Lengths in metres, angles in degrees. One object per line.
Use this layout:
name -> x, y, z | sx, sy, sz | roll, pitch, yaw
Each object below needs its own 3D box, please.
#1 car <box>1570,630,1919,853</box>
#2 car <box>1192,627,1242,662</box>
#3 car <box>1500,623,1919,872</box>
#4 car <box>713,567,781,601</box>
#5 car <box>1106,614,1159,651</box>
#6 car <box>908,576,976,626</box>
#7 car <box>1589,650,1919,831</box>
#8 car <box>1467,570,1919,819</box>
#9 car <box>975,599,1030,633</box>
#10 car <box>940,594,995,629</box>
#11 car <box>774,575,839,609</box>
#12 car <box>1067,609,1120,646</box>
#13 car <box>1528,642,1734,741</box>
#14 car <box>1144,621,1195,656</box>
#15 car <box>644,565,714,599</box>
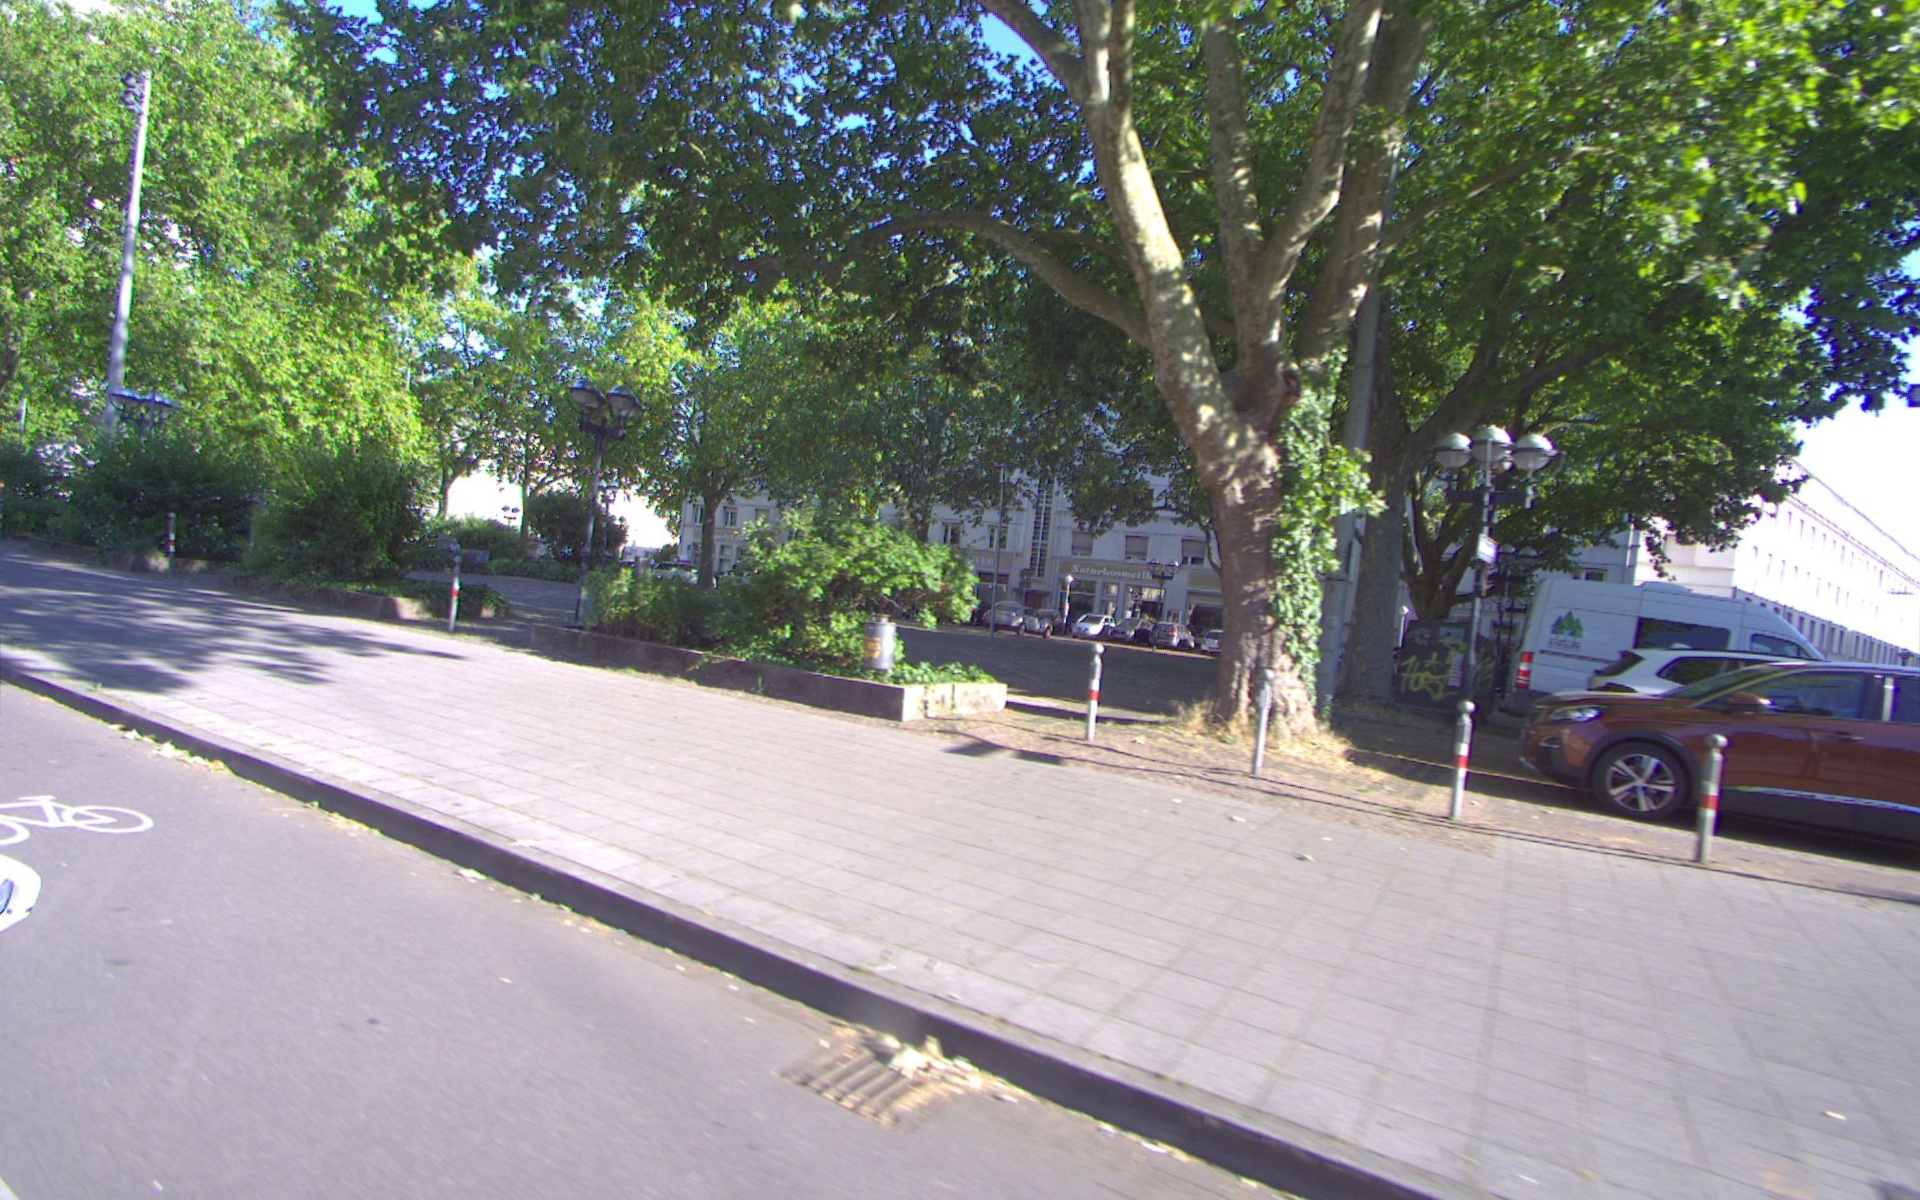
car -> 9.335, 1.536, 10.628 | 4.717, 1.757, 1.862 | 8, 1, 31
car -> 14.569, 2.551, 56.836 | 1.787, 1.553, 3.999 | 7, -2, 27
car -> 7.632, 1.344, 9.165 | 4.581, 1.622, 1.820 | 8, 1, 28
car -> -12.886, -0.936, 61.147 | 1.829, 1.638, 4.293 | 7, 0, 22
car -> 10.149, 1.936, 58.954 | 1.787, 1.678, 3.999 | 7, -2, 27
car -> -1.108, 0.114, 66.513 | 2.023, 2.656, 5.080 | 7, -2, 28
car -> 10.333, 1.711, 12.614 | 3.933, 1.590, 1.862 | 8, 1, 31
car -> 11.313, 1.294, 15.690 | 5.700, 2.869, 2.242 | 7, 1, 31
car -> 2.706, 1.028, 63.085 | 1.787, 1.678, 3.999 | 7, -2, 27
car -> 0.528, 0.764, 64.355 | 1.787, 1.678, 3.999 | 7, -2, 27
car -> -8.954, -0.458, 58.993 | 1.830, 1.638, 3.997 | 7, 0, 23
car -> 7.985, 1.669, 60.077 | 1.787, 1.678, 3.999 | 7, -2, 27
car -> 19.574, 2.607, 29.636 | 4.671, 2.039, 1.995 | 9, 2, 31
car -> 12.067, 2.232, 57.851 | 1.787, 1.553, 3.999 | 7, -2, 27
car -> -17.640, -1.127, 63.285 | 1.966, 1.705, 3.894 | 7, 1, 29
